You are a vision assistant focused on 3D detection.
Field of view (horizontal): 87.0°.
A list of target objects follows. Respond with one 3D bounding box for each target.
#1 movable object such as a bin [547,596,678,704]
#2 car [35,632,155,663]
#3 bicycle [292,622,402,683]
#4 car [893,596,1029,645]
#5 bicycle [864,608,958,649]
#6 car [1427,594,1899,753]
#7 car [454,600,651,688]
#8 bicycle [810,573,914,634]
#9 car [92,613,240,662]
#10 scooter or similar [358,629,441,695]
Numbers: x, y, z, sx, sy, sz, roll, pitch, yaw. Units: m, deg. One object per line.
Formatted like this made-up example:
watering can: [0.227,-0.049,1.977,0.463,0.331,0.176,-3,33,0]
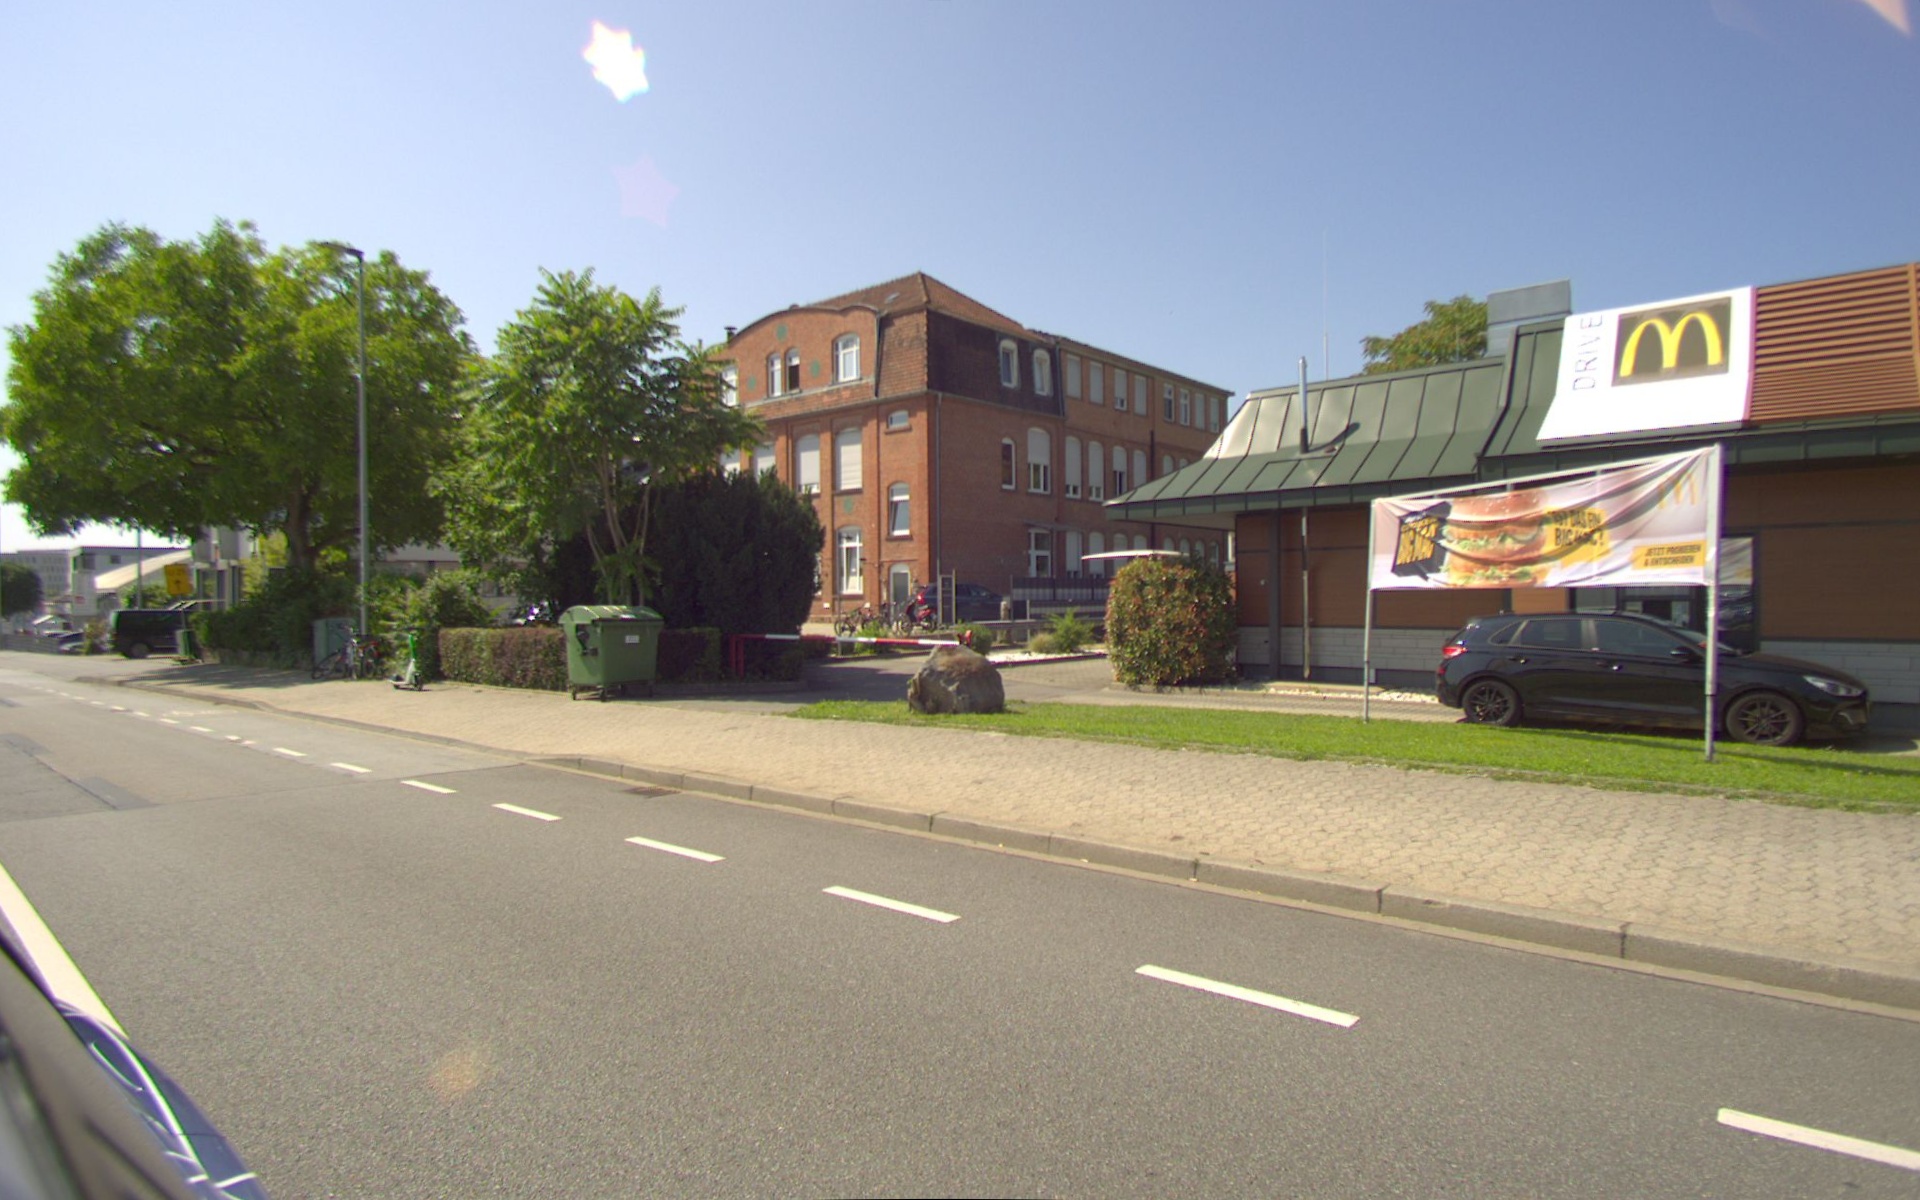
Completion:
movable object such as a bin: [-5.455,0.761,15.925,1.303,1.602,1.437,-2,-1,32]
car: [-47.155,2.552,55.232,2.046,1.492,4.692,-2,-1,39]
bicycle: [-12.982,1.090,21.400,2.762,1.126,1.017,-2,3,38]
car: [0.018,0.712,36.272,4.402,1.645,2.162,-1,-1,-17]
bicycle: [-1.642,0.926,33.362,3.439,1.296,0.872,-2,-1,41]
car: [8.126,0.778,12.052,4.316,1.487,1.810,-2,2,39]
car: [-9.245,1.040,23.136,1.787,1.855,3.722,-2,-4,45]
bicycle: [-3.125,0.138,31.807,3.759,1.837,0.878,-2,-1,41]
car: [-32.456,1.489,41.466,2.092,1.880,4.518,-2,-2,42]
scooter or similar: [-10.428,1.135,18.816,1.619,1.136,0.641,-2,2,35]
